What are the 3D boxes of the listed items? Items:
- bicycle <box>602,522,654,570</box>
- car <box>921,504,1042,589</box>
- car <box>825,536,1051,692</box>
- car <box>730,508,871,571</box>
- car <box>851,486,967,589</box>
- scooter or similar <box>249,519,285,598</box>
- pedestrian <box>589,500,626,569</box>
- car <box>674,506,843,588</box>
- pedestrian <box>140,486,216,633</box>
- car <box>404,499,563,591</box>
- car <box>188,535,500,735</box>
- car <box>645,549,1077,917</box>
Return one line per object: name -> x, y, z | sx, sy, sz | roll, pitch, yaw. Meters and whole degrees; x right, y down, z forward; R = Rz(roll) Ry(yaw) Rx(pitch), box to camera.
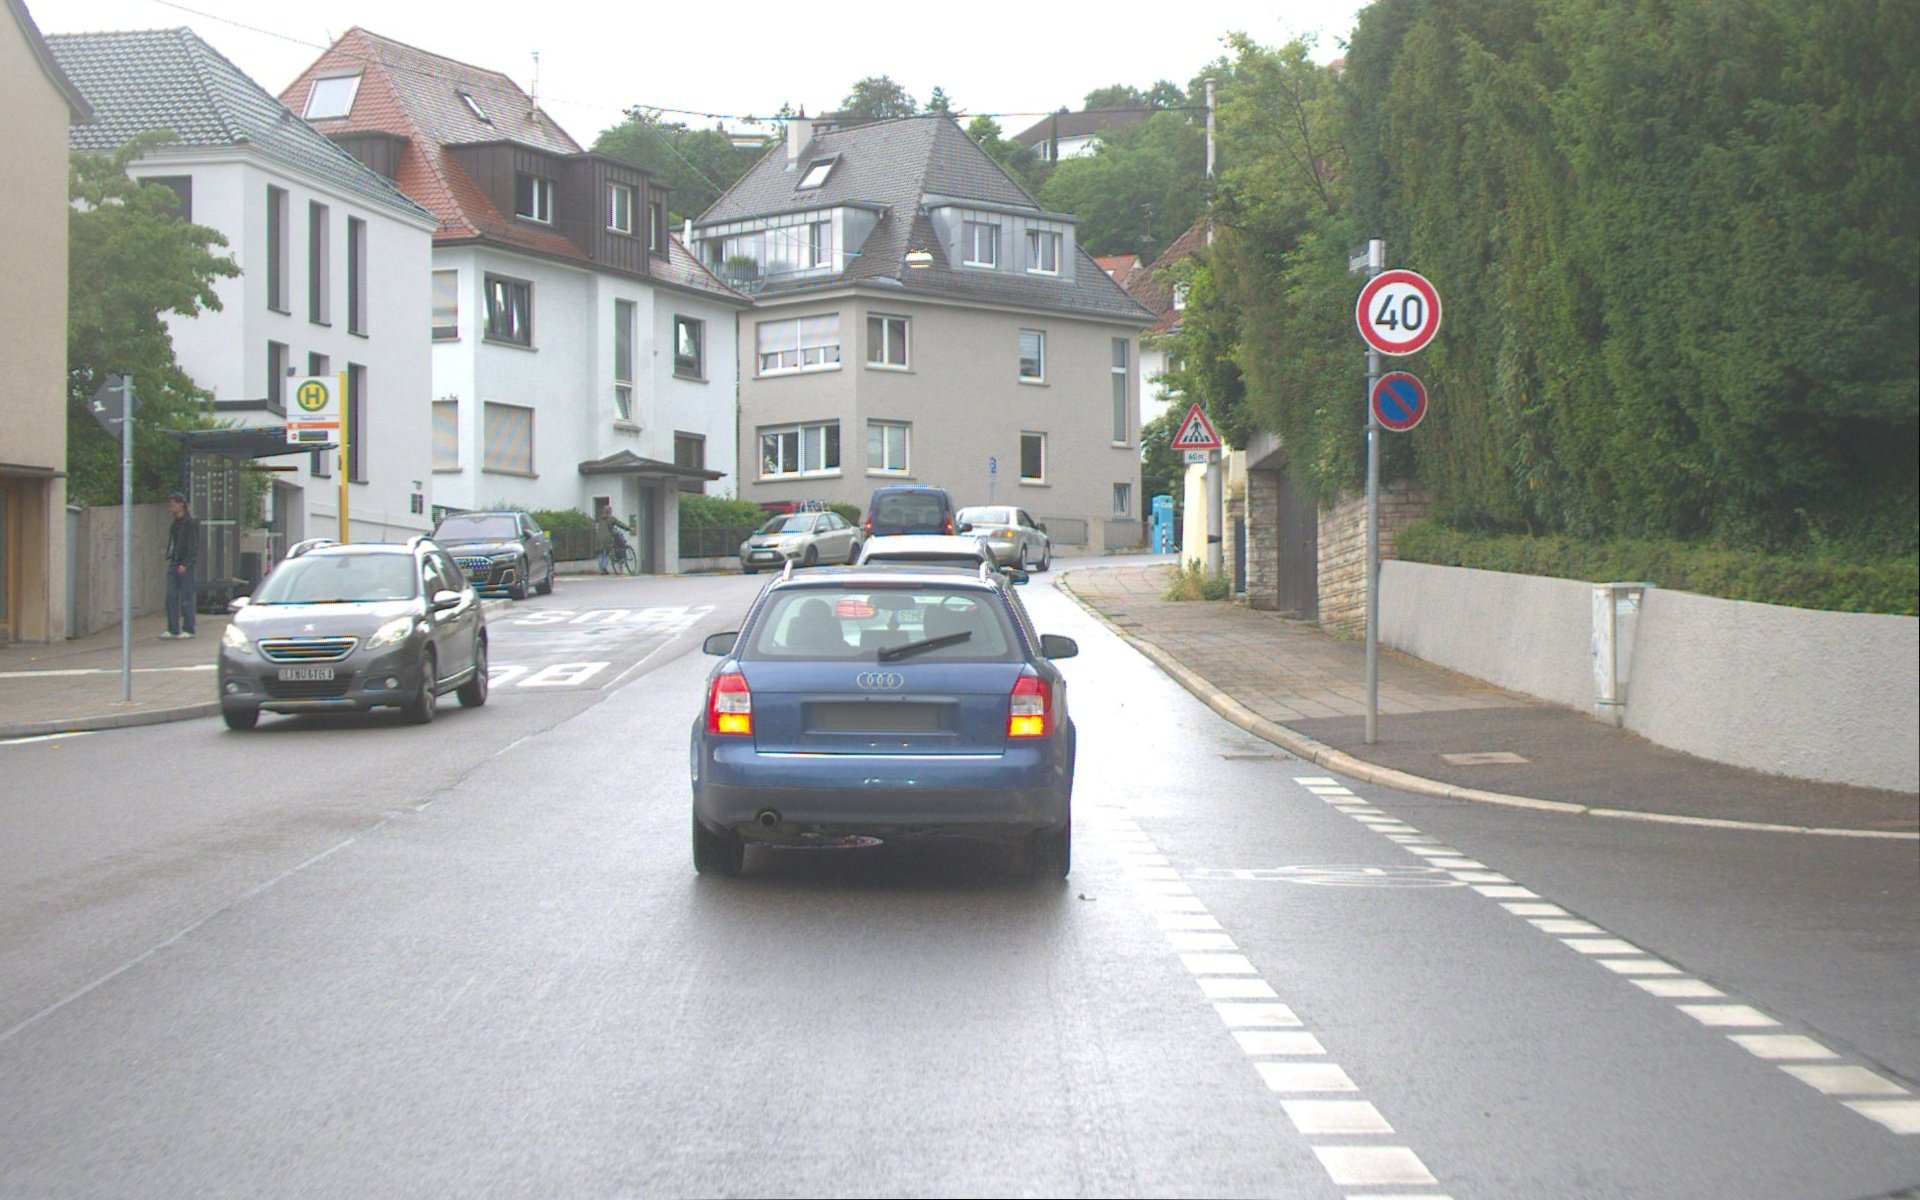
bicycle -> -7.695, -1.259, 79.767 | 0.456, 1.063, 1.920 | 0, 2, 18
car -> 0.493, -1.156, 73.015 | 1.929, 1.700, 3.999 | -1, 1, 10
car -> -0.272, 0.107, 32.748 | 1.811, 1.356, 4.001 | 1, 0, -5
car -> -3.874, -1.488, 84.278 | 1.838, 1.420, 4.225 | -2, 1, 22
car -> -0.887, -1.093, 60.094 | 1.928, 1.700, 4.000 | -1, 1, -1
scooter or similar -> -10.898, -0.656, 54.089 | 0.337, 1.215, 1.123 | 0, 1, 0
pedestrian -> -8.192, -1.525, 79.853 | 0.493, 1.571, 0.947 | 0, 2, 18
car -> -5.463, -1.438, 93.283 | 3.992, 1.816, 1.997 | -5, 0, 28
pedestrian -> -9.966, -0.517, 43.850 | 0.786, 1.850, 0.728 | 1, 1, -1
car -> -8.113, -0.960, 58.949 | 1.829, 1.480, 4.991 | -1, 1, 2
car -> -5.152, 0.253, 29.242 | 1.734, 1.540, 4.000 | -1, 1, 3
car -> -0.423, 0.537, 16.695 | 1.811, 1.434, 4.082 | 1, 2, 0
